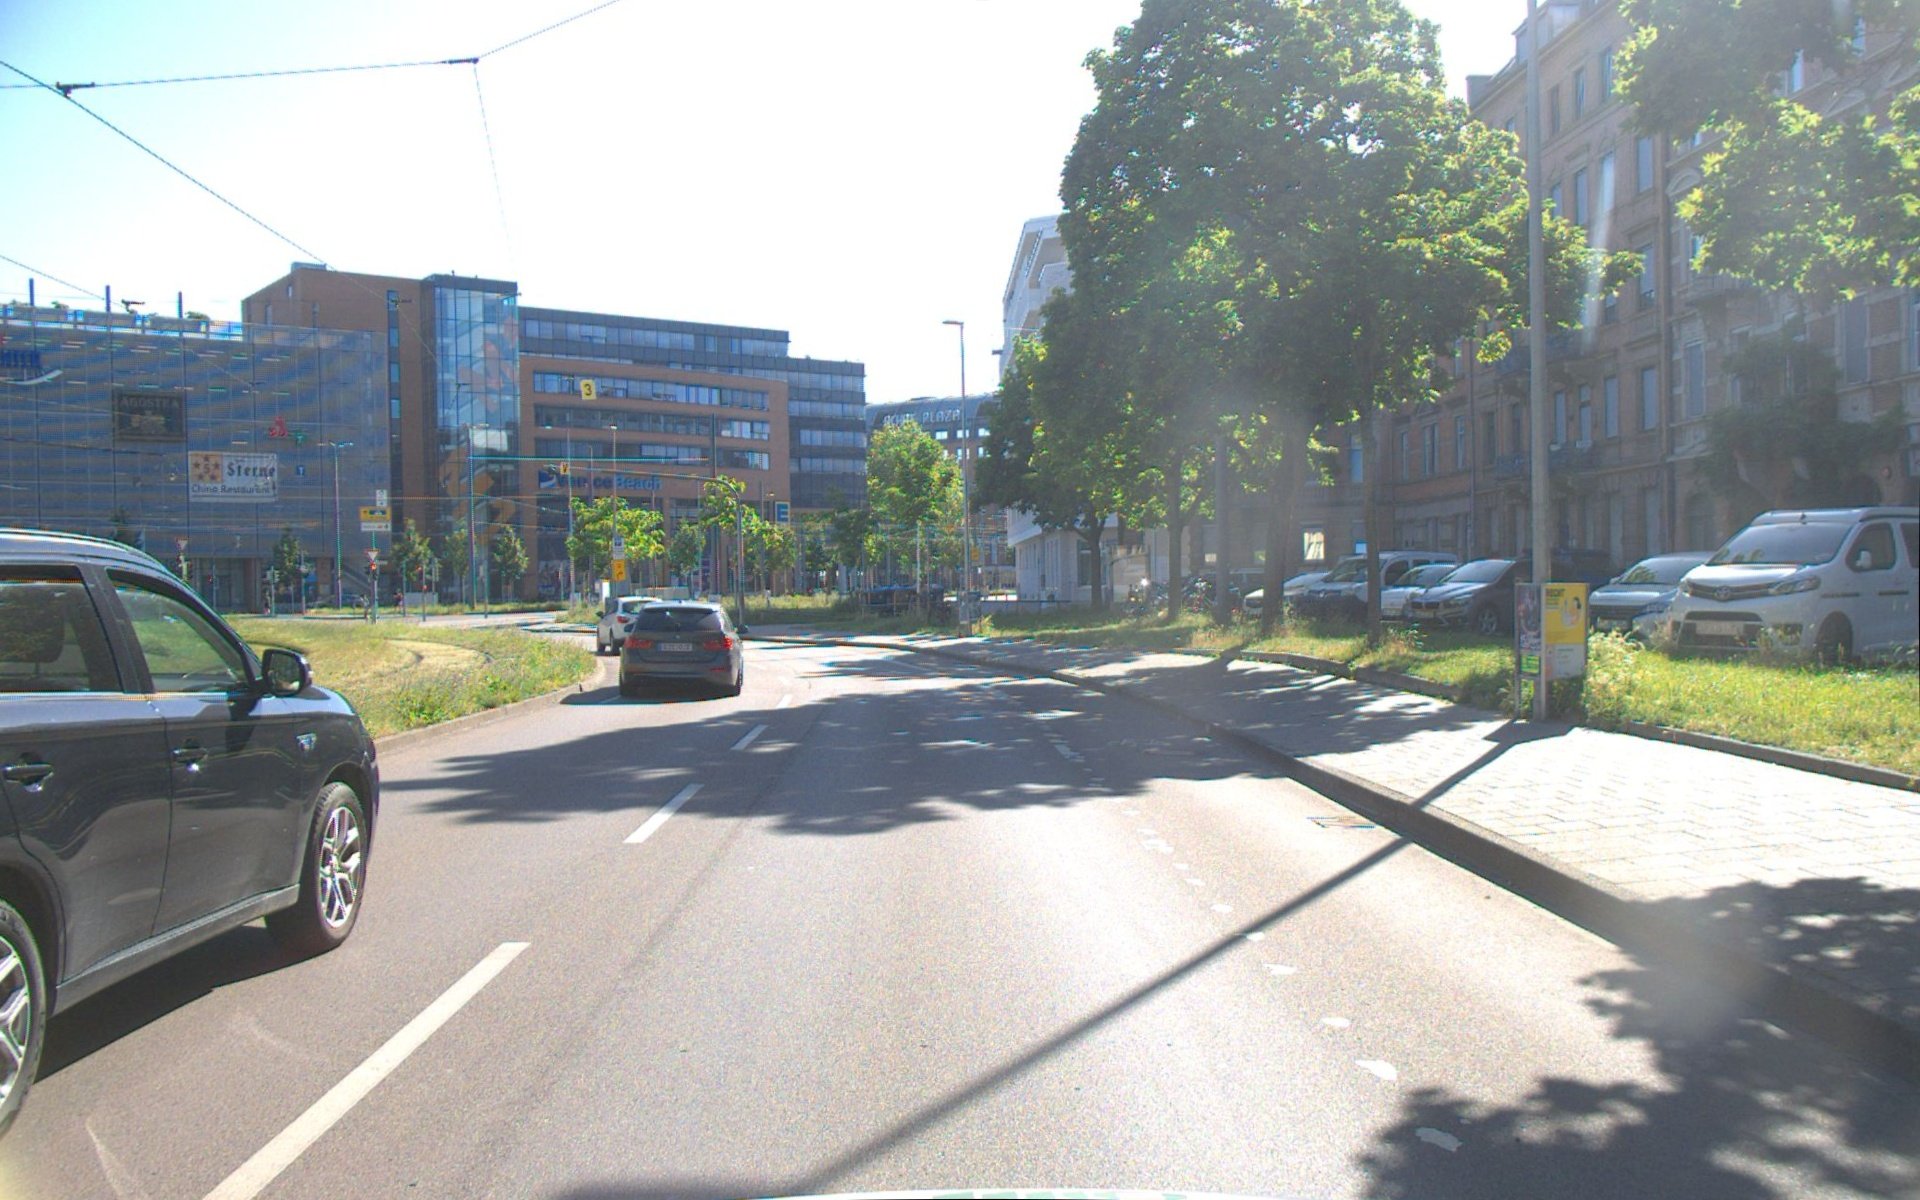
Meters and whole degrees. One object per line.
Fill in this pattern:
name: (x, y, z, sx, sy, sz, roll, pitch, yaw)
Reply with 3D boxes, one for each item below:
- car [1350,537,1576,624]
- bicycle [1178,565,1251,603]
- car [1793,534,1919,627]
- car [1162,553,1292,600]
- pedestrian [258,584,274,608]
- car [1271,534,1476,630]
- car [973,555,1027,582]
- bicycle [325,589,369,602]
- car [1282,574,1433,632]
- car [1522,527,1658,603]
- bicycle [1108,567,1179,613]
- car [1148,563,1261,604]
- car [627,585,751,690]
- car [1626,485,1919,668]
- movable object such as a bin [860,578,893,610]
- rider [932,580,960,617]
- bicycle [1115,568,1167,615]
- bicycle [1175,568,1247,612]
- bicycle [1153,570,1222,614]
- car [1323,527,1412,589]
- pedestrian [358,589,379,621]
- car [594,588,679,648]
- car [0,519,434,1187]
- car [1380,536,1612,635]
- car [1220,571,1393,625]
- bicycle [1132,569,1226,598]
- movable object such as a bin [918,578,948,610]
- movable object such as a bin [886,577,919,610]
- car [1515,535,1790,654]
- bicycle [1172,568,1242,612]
car: (11.082, -0.433, 36.383, 4.817, 1.676, 2.078, -3, 0, -32)
bicycle: (7.967, -0.496, 51.759, 2.120, 1.178, 0.821, 0, 0, -6)
car: (18.663, -0.376, 32.819, 1.953, 1.721, 4.512, 0, 0, -1)
car: (9.400, -0.836, 58.105, 4.415, 1.593, 1.916, -1, 0, -34)
pedestrian: (-51.154, -0.293, 121.908, 0.741, 1.768, 0.850, -1, 0, 44)
car: (9.831, -0.433, 39.179, 4.827, 2.048, 2.074, -3, 0, -36)
car: (3.184, -2.475, 130.385, 3.902, 2.049, 2.002, 0, 0, 14)
bicycle: (-52.149, -0.368, 140.738, 3.331, 1.096, 1.103, 1, 0, -34)
car: (10.142, 0.047, 42.171, 3.574, 1.404, 1.901, -1, 0, -36)
car: (17.944, -0.997, 47.384, 1.953, 2.012, 4.723, -2, 1, -1)
bicycle: (5.628, -0.291, 50.827, 2.053, 1.388, 0.786, 0, 0, -8)
car: (9.025, -0.608, 61.095, 3.776, 1.466, 1.749, -1, 0, -21)
car: (-4.166, 0.594, 25.851, 1.701, 1.448, 4.459, 2, -2, -8)
car: (10.955, -0.346, 20.877, 5.120, 2.048, 2.078, -3, 0, -32)
movable object such as a bin: (-3.732, -0.280, 74.036, 1.046, 1.423, 1.304, 0, 0, 18)
rider: (-0.457, -0.053, 55.362, 0.491, 1.196, 1.677, 0, 1, 15)
bicycle: (5.305, -0.258, 48.446, 0.755, 1.312, 1.591, -1, 1, 38)
bicycle: (7.314, -0.297, 48.296, 1.905, 1.201, 0.899, -2, 0, -3)
bicycle: (7.416, -0.255, 53.940, 2.057, 1.423, 0.785, 0, 0, -13)
car: (16.989, -1.748, 69.164, 2.301, 2.398, 5.187, -2, 1, -1)
pedestrian: (-32.037, 0.280, 89.586, 0.880, 1.737, 0.702, 0, 0, -40)
car: (-8.412, 0.486, 42.820, 1.607, 1.448, 3.761, 2, -2, -19)
car: (-3.370, 0.649, 5.500, 1.799, 1.711, 4.642, 0, 0, -1)
car: (10.729, -0.302, 33.057, 4.454, 1.757, 1.978, -3, 0, -32)
car: (9.482, -0.074, 45.111, 4.699, 1.404, 2.020, -1, 0, -36)
bicycle: (8.935, -0.655, 67.967, 2.623, 1.146, 5.214, 0, 0, -7)
movable object such as a bin: (-1.208, -0.263, 74.340, 1.007, 1.423, 1.091, 0, 0, 18)
movable object such as a bin: (-2.592, -0.293, 74.102, 1.084, 1.423, 1.322, 0, 0, 18)
car: (9.919, -0.099, 23.611, 3.985, 1.504, 1.790, -3, 0, -36)
bicycle: (7.336, -0.297, 49.219, 1.918, 1.212, 0.841, -2, 0, -3)
